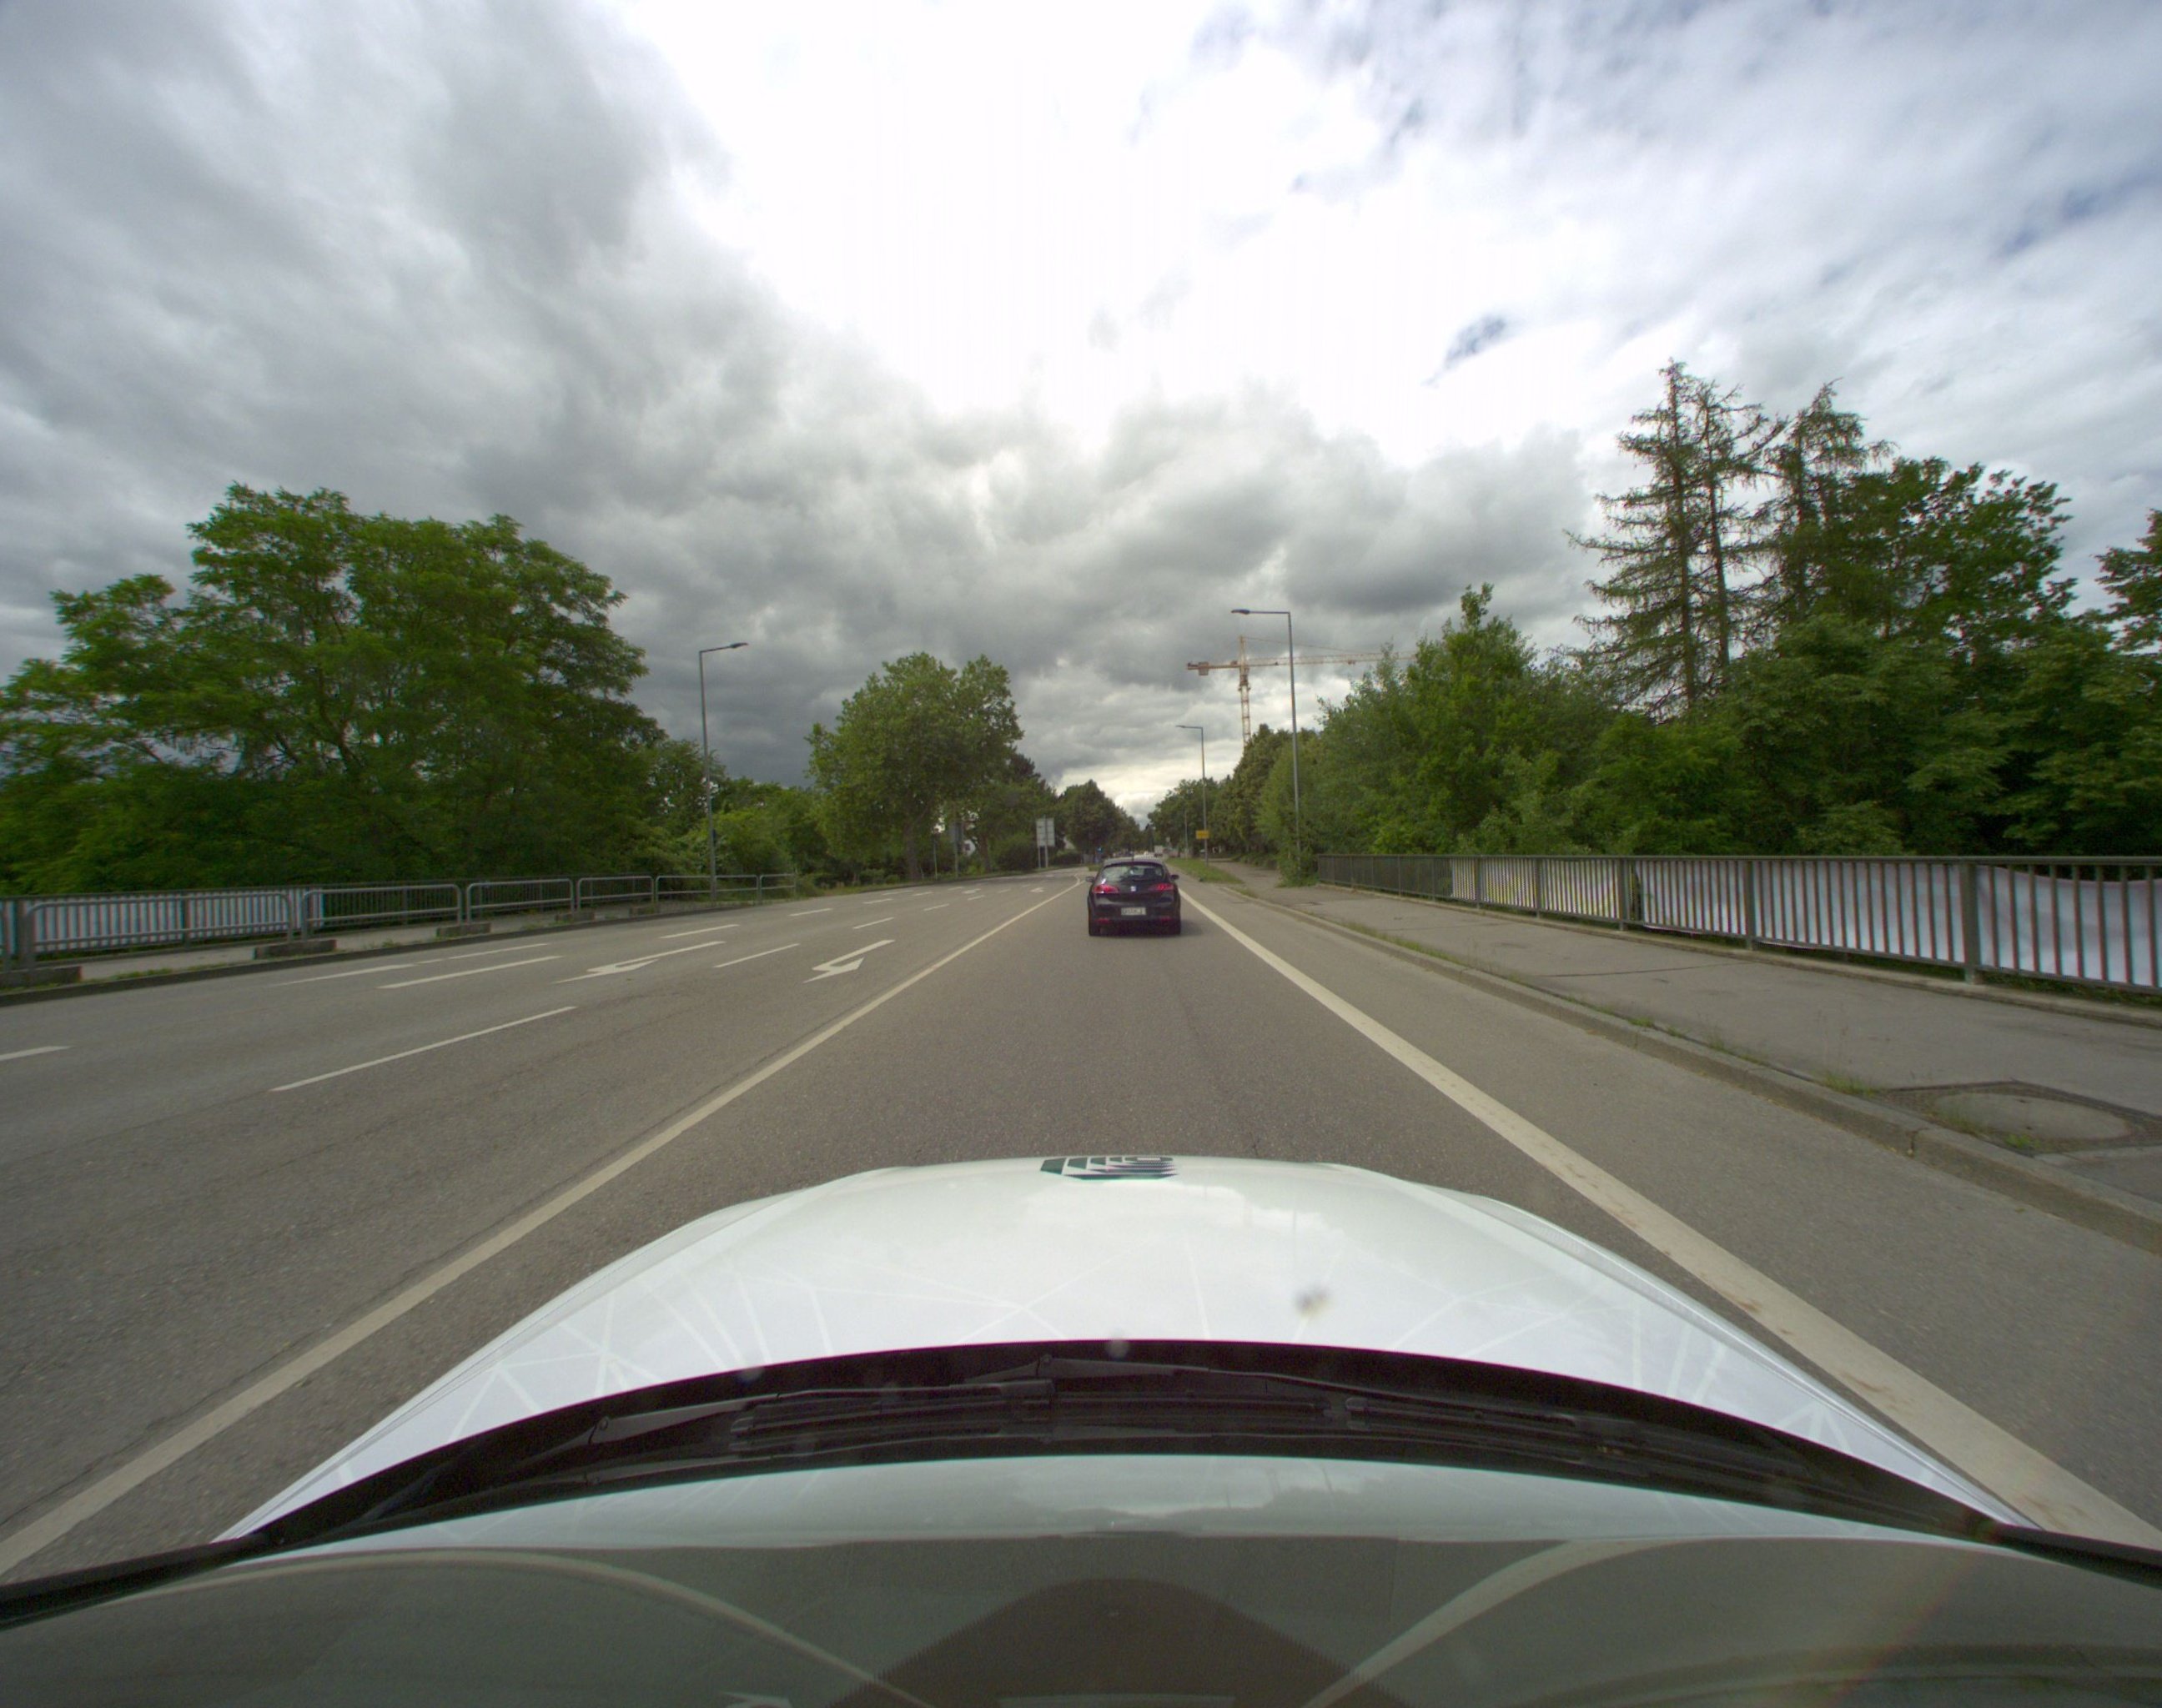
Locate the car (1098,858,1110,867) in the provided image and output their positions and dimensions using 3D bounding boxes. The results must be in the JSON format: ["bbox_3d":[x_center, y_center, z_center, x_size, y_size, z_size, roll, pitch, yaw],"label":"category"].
[{"bbox_3d":[4.247,1.542,149.994,1.709,1.395,4.809,-4,0,6],"label":"car"}]

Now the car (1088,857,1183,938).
[{"bbox_3d":[1.031,0.774,16.321,1.656,1.401,3.813,-1,0,2],"label":"car"}]

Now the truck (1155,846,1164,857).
[{"bbox_3d":[21.946,-0.736,227.250,2.267,3.104,8.524,-1,0,6],"label":"truck"}]

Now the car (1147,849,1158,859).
[{"bbox_3d":[13.464,-0.034,152.675,1.872,1.689,4.221,-3,0,6],"label":"car"}]

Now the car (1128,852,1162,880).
[{"bbox_3d":[3.648,0.658,46.410,1.837,1.510,3.817,-1,0,5],"label":"car"}]

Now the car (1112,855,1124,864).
[{"bbox_3d":[8.226,1.203,178.908,2.089,1.896,5.794,-4,0,6],"label":"car"}]

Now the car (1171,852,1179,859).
[{"bbox_3d":[19.905,0.322,172.223,1.679,1.490,3.361,-3,0,6],"label":"car"}]

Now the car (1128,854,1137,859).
[{"bbox_3d":[14.946,0.707,235.850,2.089,1.506,5.794,-4,0,6],"label":"car"}]
